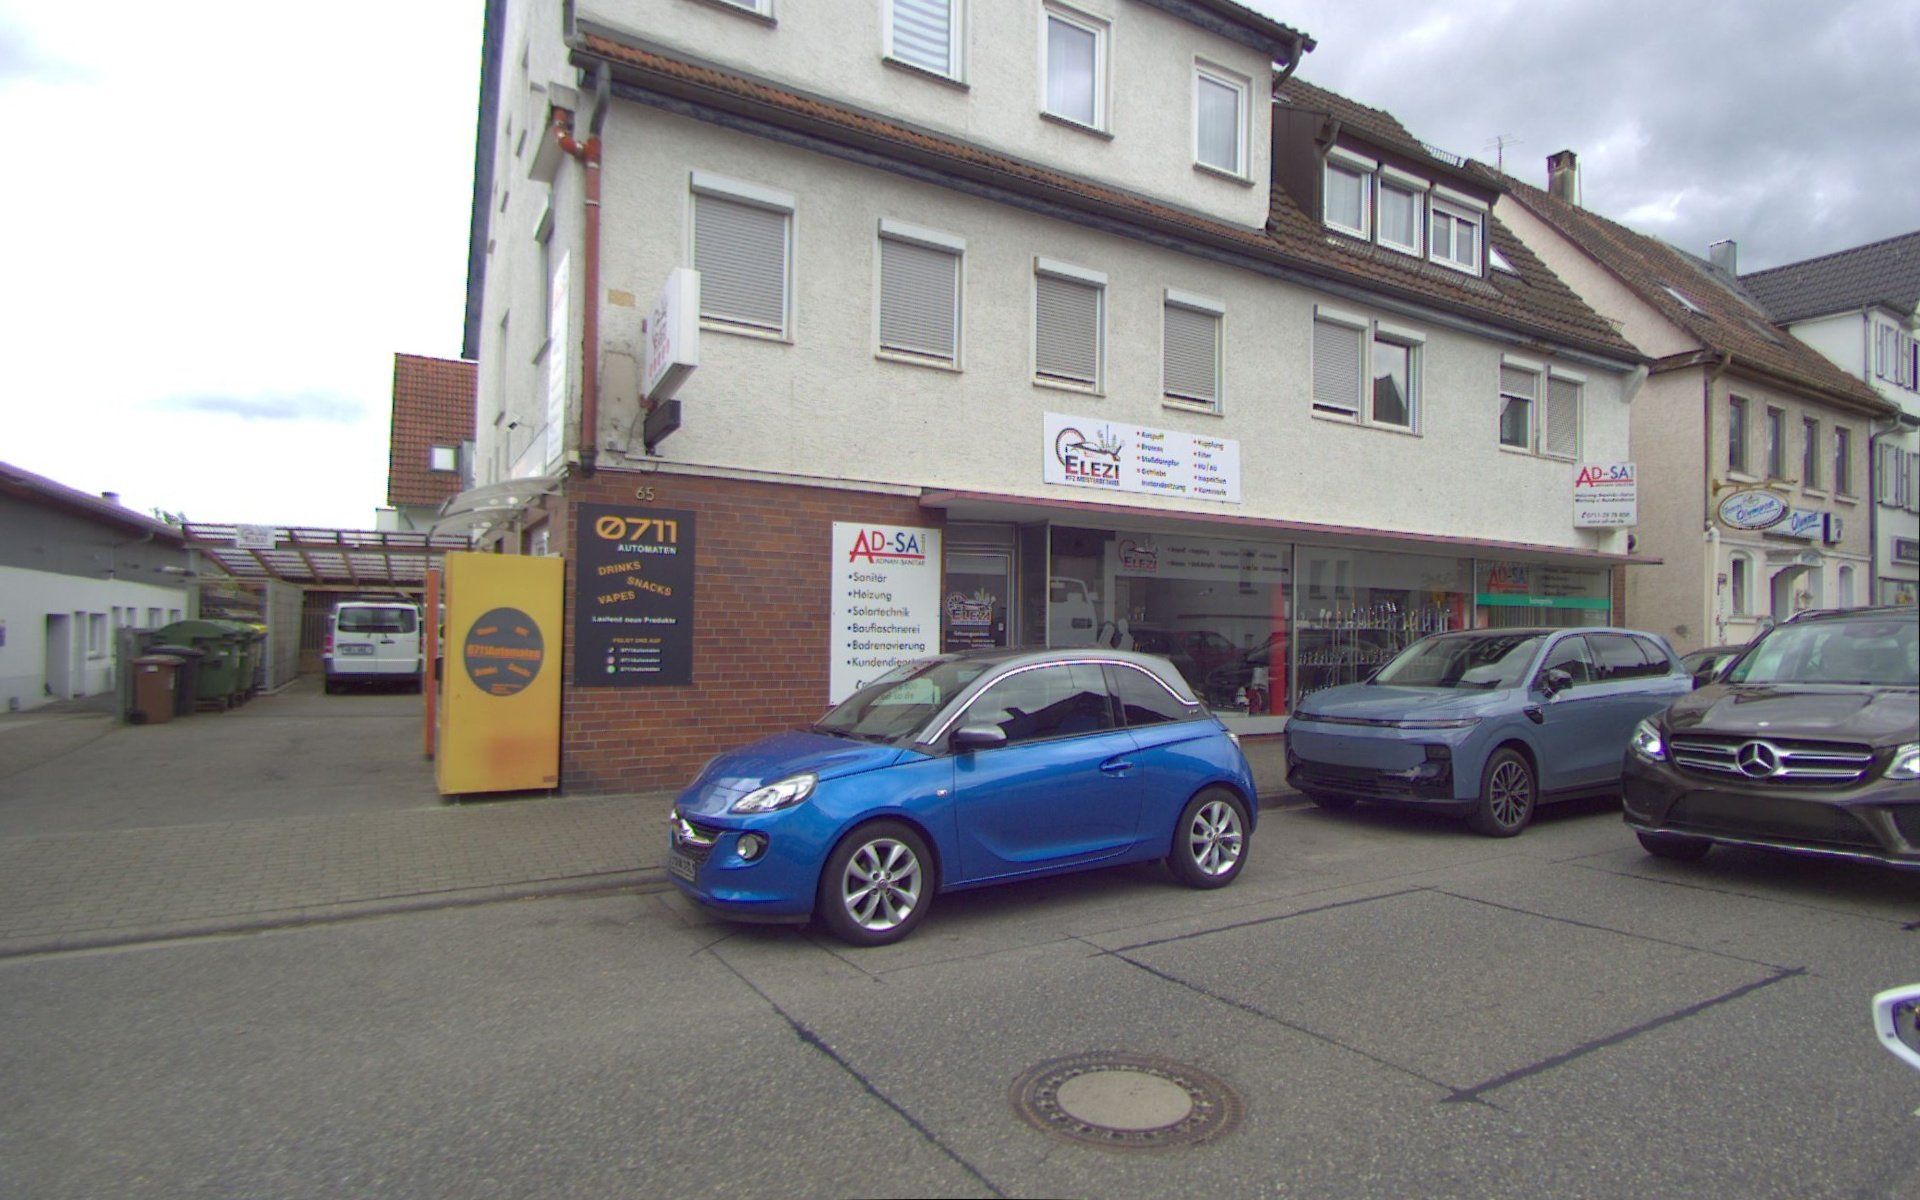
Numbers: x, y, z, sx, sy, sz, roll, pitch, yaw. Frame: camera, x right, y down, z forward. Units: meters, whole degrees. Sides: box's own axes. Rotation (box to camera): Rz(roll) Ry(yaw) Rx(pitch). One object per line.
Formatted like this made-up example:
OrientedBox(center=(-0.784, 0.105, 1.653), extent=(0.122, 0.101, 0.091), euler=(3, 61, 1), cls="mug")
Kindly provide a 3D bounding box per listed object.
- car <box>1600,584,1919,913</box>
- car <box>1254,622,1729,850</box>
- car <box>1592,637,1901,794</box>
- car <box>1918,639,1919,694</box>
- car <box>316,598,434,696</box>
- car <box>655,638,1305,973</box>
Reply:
OrientedBox(center=(6.680, 0.873, 7.068), extent=(4.314, 1.760, 1.892), euler=(1, -3, -30), cls="car")
OrientedBox(center=(4.844, 1.054, 9.036), extent=(4.253, 1.620, 1.795), euler=(1, -3, -30), cls="car")
OrientedBox(center=(9.255, 1.230, 11.763), extent=(3.767, 1.528, 1.574), euler=(1, -1, -30), cls="car")
OrientedBox(center=(18.467, 1.408, 17.380), extent=(3.973, 1.466, 1.675), euler=(1, -3, -30), cls="car")
OrientedBox(center=(-12.548, 0.939, 21.778), extent=(1.928, 1.915, 3.972), euler=(1, -1, -27), cls="car")
OrientedBox(center=(0.192, 1.009, 6.250), extent=(3.730, 1.519, 1.675), euler=(1, -3, -30), cls="car")
